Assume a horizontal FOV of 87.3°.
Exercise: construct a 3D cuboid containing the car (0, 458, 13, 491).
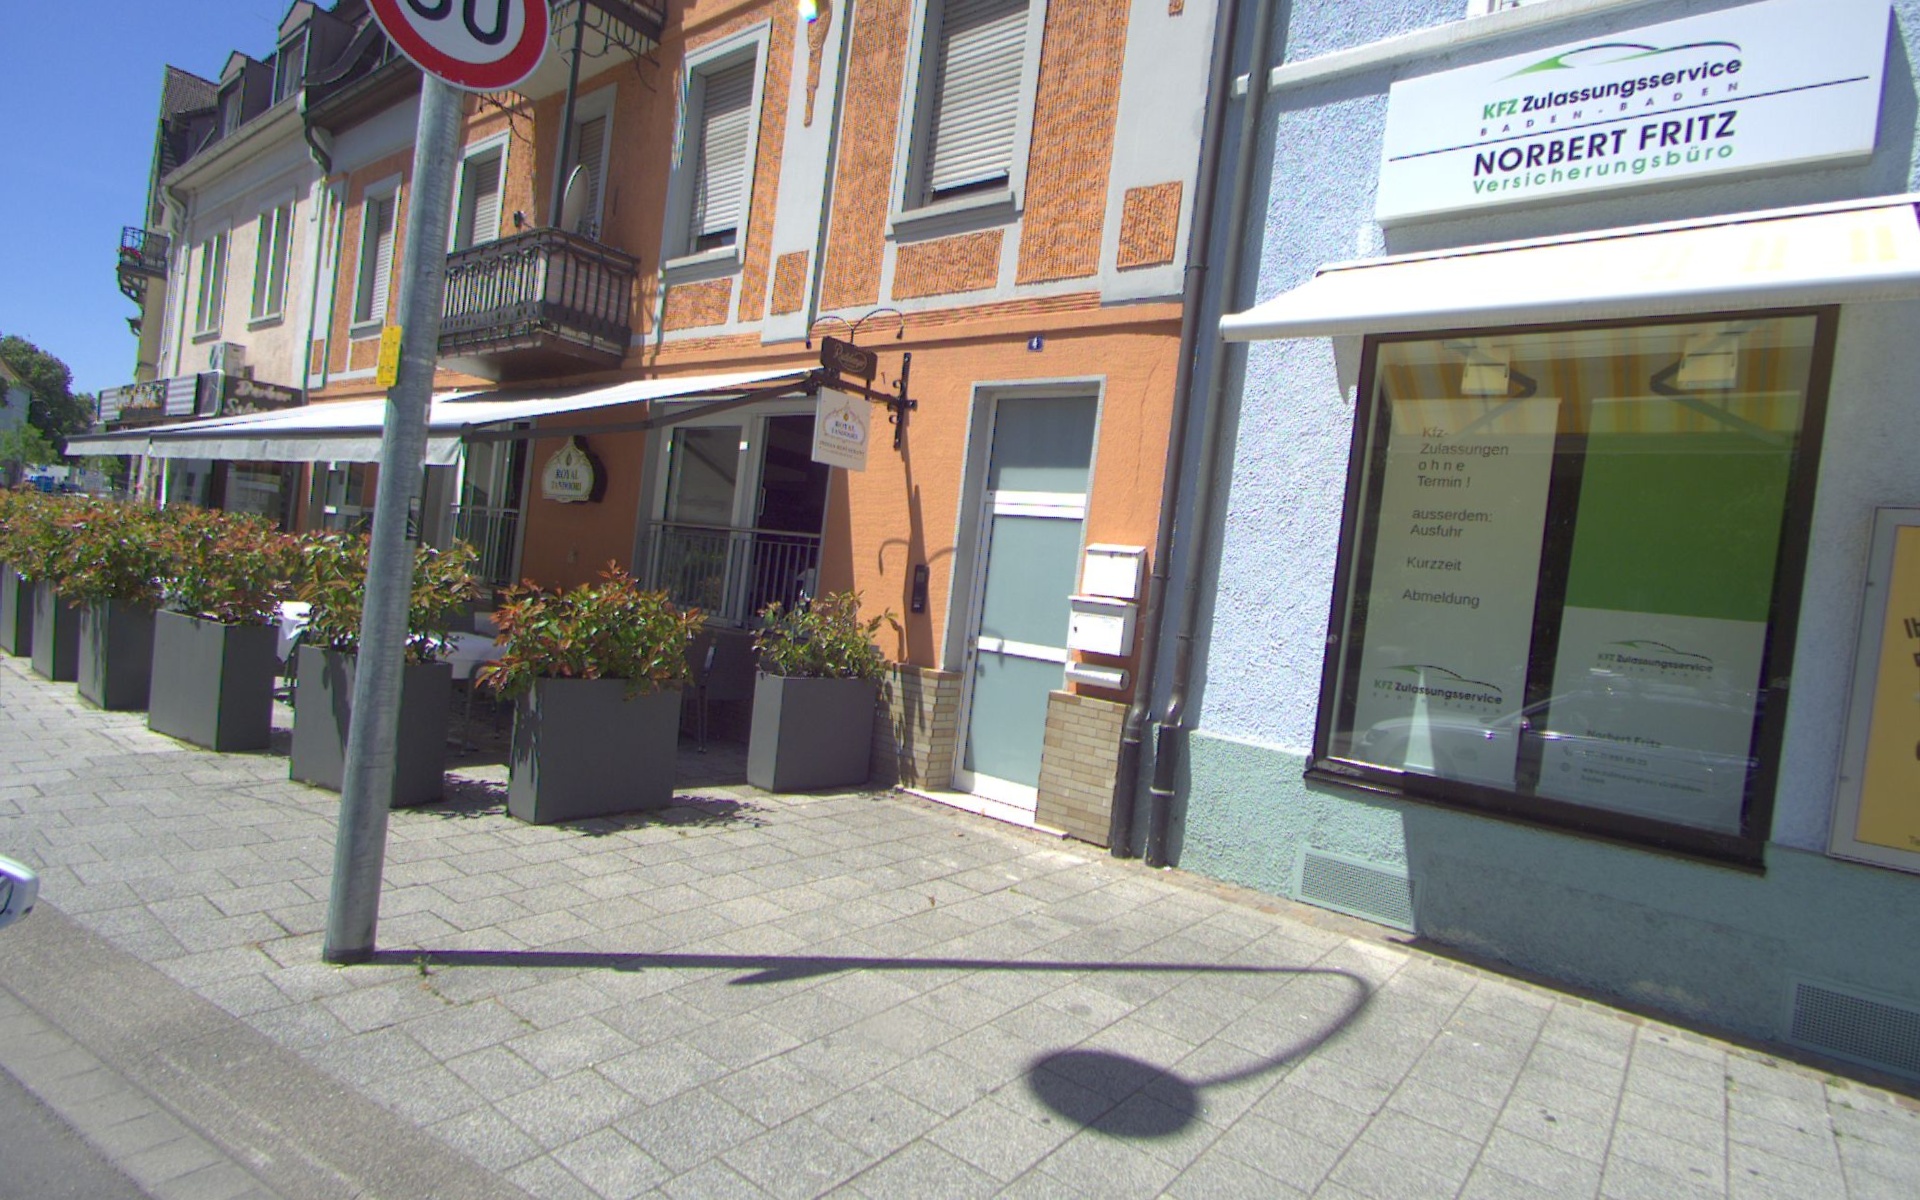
[{"bbox_3d":[-83.602,-11.001,84.258,5.598,2.610,2.497,8,-1,-29],"label":"car"}]
